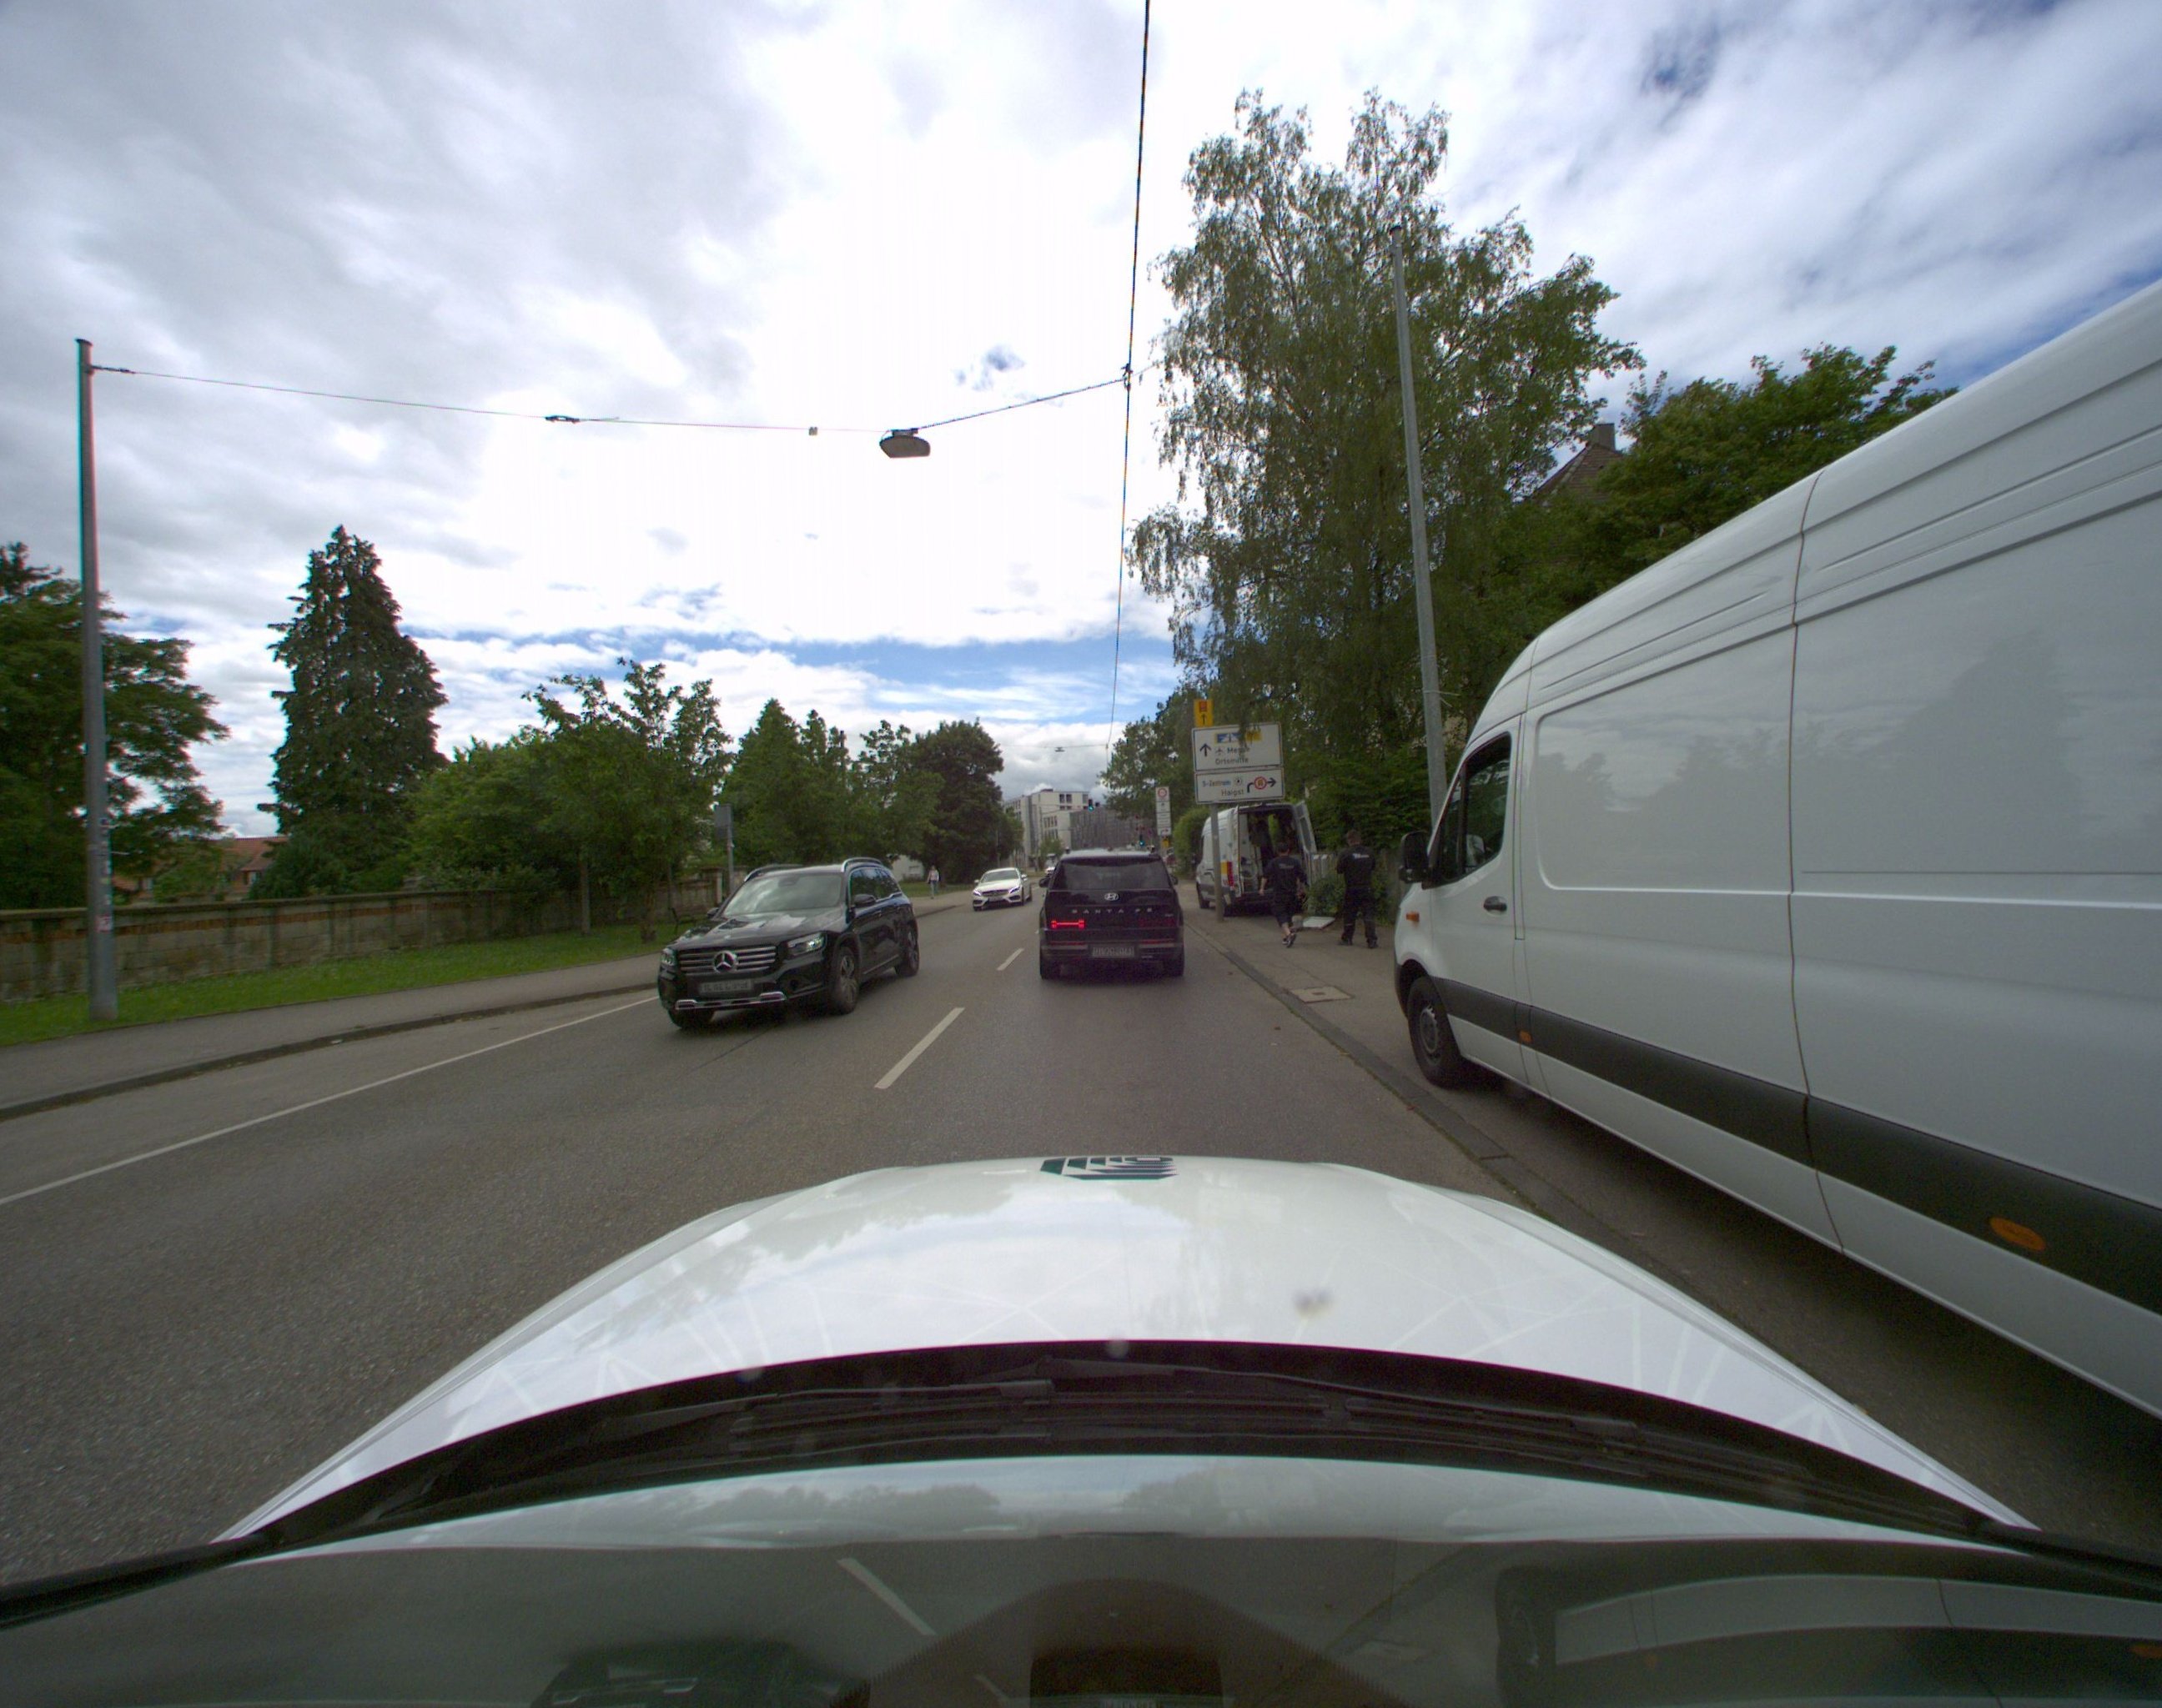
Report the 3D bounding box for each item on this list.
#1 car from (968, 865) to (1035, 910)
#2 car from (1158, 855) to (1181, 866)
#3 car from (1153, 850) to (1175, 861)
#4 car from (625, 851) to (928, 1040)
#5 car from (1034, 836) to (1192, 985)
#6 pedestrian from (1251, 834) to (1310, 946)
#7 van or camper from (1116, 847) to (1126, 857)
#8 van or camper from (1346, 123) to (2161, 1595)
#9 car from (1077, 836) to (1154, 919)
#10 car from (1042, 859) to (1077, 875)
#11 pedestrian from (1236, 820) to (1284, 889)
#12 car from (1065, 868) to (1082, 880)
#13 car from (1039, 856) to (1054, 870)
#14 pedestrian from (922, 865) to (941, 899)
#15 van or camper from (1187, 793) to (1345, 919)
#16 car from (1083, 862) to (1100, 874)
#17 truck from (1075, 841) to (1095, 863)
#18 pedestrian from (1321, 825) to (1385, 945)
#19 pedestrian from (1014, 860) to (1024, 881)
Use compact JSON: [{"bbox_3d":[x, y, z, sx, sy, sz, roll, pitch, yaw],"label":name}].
[{"bbox_3d":[-2.917,1.204,30.880,1.808,1.419,4.830,-6,-1,2],"label":"car"},{"bbox_3d":[15.352,1.150,141.780,3.968,1.584,1.892,-3,-1,5],"label":"car"},{"bbox_3d":[13.904,0.230,136.572,3.624,1.584,1.754,-3,-1,5],"label":"car"},{"bbox_3d":[-3.303,0.903,9.838,1.873,1.644,4.129,-5,-1,1],"label":"car"},{"bbox_3d":[0.456,0.696,11.733,1.890,1.776,3.996,0,-1,2],"label":"car"},{"bbox_3d":[3.244,0.580,13.205,0.744,1.721,0.795,-5,-2,18],"label":"pedestrian"},{"bbox_3d":[8.312,-0.375,168.116,1.791,1.999,3.821,0,-1,-1],"label":"van or camper"},{"bbox_3d":[2.954,0.016,2.713,1.983,2.625,6.547,-6,-1,2],"label":"van or camper"},{"bbox_3d":[0.933,0.611,22.206,1.890,2.042,3.996,0,-1,2],"label":"car"},{"bbox_3d":[-2.359,1.411,90.813,1.820,1.538,4.294,-3,-1,30],"label":"car"},{"bbox_3d":[4.448,0.024,20.306,0.740,1.644,0.794,-3,-2,-26],"label":"pedestrian"},{"bbox_3d":[-0.980,2.527,102.597,1.880,1.420,3.994,-3,-1,-4],"label":"car"},{"bbox_3d":[-5.982,1.503,140.020,2.328,2.315,4.950,-3,-1,-4],"label":"car"},{"bbox_3d":[-7.868,1.452,43.002,0.764,1.748,0.905,-1,-1,3],"label":"pedestrian"},{"bbox_3d":[4.421,0.128,20.850,2.333,2.494,6.601,-6,-2,0],"label":"van or camper"},{"bbox_3d":[1.443,1.955,114.469,1.881,1.639,3.889,-3,-1,-6],"label":"car"},{"bbox_3d":[0.746,-0.314,156.691,3.101,3.859,9.607,-3,-1,-4],"label":"truck"},{"bbox_3d":[4.134,0.465,12.431,0.646,1.751,0.654,-2,-1,-5],"label":"pedestrian"},{"bbox_3d":[-5.850,1.570,76.764,0.826,2.014,1.048,0,-1,4],"label":"pedestrian"}]
